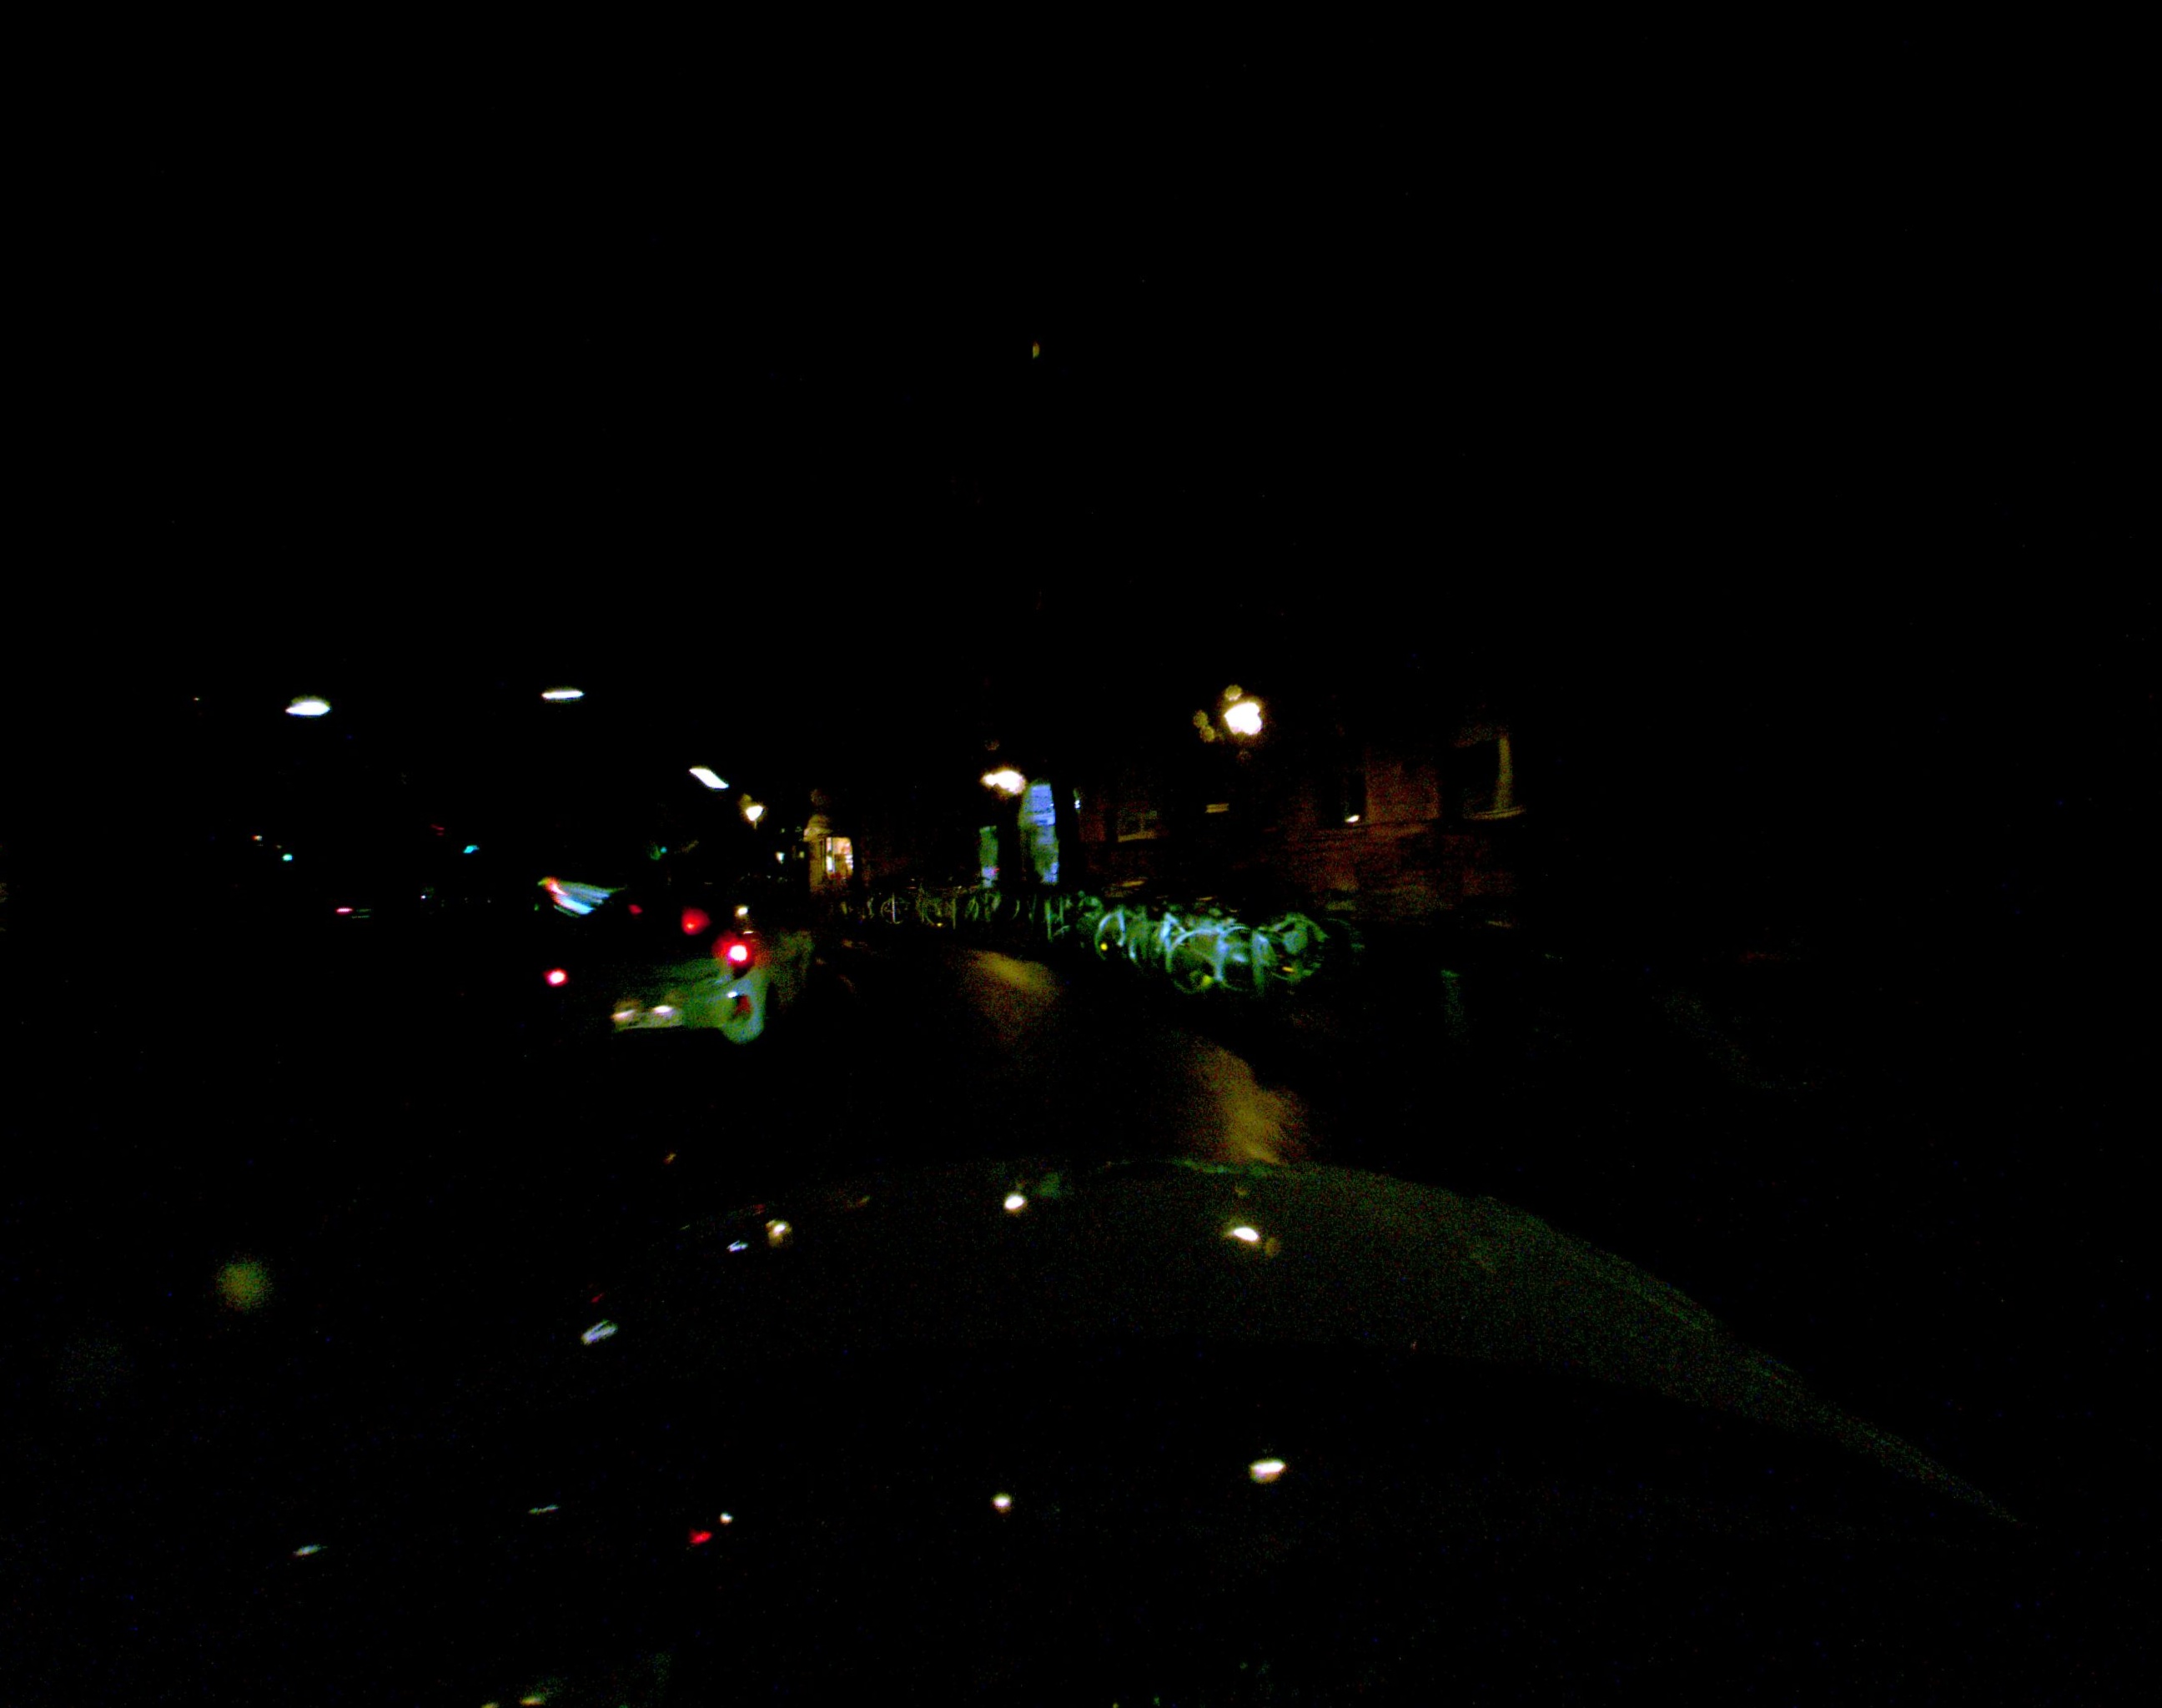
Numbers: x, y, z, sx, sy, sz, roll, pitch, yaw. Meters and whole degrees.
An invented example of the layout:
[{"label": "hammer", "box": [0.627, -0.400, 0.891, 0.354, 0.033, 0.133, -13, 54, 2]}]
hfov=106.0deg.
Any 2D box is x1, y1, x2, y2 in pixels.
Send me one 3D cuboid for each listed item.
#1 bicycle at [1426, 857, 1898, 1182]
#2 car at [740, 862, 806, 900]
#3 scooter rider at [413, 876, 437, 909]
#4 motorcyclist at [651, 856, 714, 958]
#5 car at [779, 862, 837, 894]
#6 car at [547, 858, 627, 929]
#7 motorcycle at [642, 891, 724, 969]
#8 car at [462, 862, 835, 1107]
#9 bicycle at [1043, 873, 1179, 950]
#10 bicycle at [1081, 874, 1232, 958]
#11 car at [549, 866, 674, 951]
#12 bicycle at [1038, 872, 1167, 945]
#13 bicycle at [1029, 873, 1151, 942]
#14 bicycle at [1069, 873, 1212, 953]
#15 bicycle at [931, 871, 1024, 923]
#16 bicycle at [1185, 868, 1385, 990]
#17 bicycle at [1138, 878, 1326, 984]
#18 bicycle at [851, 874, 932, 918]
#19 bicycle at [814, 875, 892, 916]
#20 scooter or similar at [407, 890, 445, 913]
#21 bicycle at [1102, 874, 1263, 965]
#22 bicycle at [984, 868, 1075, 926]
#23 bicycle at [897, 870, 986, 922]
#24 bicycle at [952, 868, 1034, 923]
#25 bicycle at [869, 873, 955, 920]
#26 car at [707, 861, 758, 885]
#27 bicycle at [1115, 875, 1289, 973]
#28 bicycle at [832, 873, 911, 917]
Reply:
[{"label": "bicycle", "box": [2.728, 0.680, 3.884, 1.871, 1.217, 0.727, -3, 0, -13]}, {"label": "car", "box": [-15.284, 1.299, 40.587, 1.641, 1.524, 3.582, -7, 0, 1]}, {"label": "scooter rider", "box": [-32.280, 1.897, 40.100, 0.636, 1.573, 0.655, -1, -1, 13]}, {"label": "motorcyclist", "box": [-6.929, 0.901, 14.147, 0.796, 1.695, 0.810, -1, -2, -39]}, {"label": "car", "box": [-15.227, 1.300, 45.675, 1.639, 1.441, 4.057, -7, 0, 2]}, {"label": "car", "box": [-18.881, 1.411, 31.386, 2.229, 2.441, 5.335, -2, 0, -28]}, {"label": "motorcycle", "box": [-6.975, 1.273, 14.215, 0.796, 1.213, 2.224, -1, -1, -39]}, {"label": "car", "box": [-3.545, 0.916, 7.520, 1.919, 1.515, 3.586, -3, 1, -10]}, {"label": "bicycle", "box": [0.452, 0.863, 12.634, 1.970, 1.006, 0.639, -3, 0, -13]}, {"label": "bicycle", "box": [1.053, 0.843, 11.450, 1.970, 1.006, 0.639, -3, 0, -13]}, {"label": "car", "box": [-11.002, 1.212, 18.983, 1.763, 1.739, 3.753, -1, -1, -42]}, {"label": "bicycle", "box": [0.349, 0.872, 13.373, 1.970, 1.033, 0.639, -3, 0, -13]}, {"label": "bicycle", "box": [0.145, 0.897, 14.044, 1.970, 1.006, 0.639, -3, 0, -13]}, {"label": "bicycle", "box": [0.871, 0.846, 12.073, 1.970, 1.006, 0.639, -3, 0, -13]}, {"label": "bicycle", "box": [-2.332, 0.950, 18.222, 1.970, 1.006, 0.639, -3, 0, -13]}, {"label": "bicycle", "box": [2.184, 0.765, 8.800, 1.928, 1.115, 0.727, -3, 0, -13]}, {"label": "bicycle", "box": [1.691, 0.834, 9.233, 1.928, 0.987, 0.727, -3, 0, -13]}, {"label": "bicycle", "box": [-4.989, 1.092, 21.518, 1.986, 1.006, 0.634, -3, 0, -41]}, {"label": "bicycle", "box": [-6.404, 1.151, 22.969, 1.986, 1.006, 0.634, -3, 0, -41]}, {"label": "scooter or similar", "box": [-32.267, 2.326, 40.144, 0.635, 1.052, 1.374, -1, -1, 13]}, {"label": "bicycle", "box": [1.329, 0.832, 10.761, 1.970, 1.006, 0.639, -3, 0, -13]}, {"label": "bicycle", "box": [-1.095, 0.909, 17.516, 1.835, 1.087, 0.712, -3, 0, -41]}, {"label": "bicycle", "box": [-3.287, 0.969, 19.299, 1.986, 1.065, 0.634, -3, 0, -41]}, {"label": "bicycle", "box": [-1.929, 0.905, 18.214, 0.634, 1.053, 1.988, -3, 0, 34]}, {"label": "bicycle", "box": [-4.196, 1.046, 20.295, 1.986, 1.006, 0.634, -3, 0, -41]}, {"label": "car", "box": [-30.219, 1.612, 70.889, 1.986, 1.825, 5.312, 0, 1, 2]}, {"label": "bicycle", "box": [1.483, 0.831, 10.065, 1.970, 1.006, 0.685, -3, 0, -13]}, {"label": "bicycle", "box": [-5.759, 1.106, 22.429, 1.986, 1.034, 0.634, -3, 0, -41]}]
